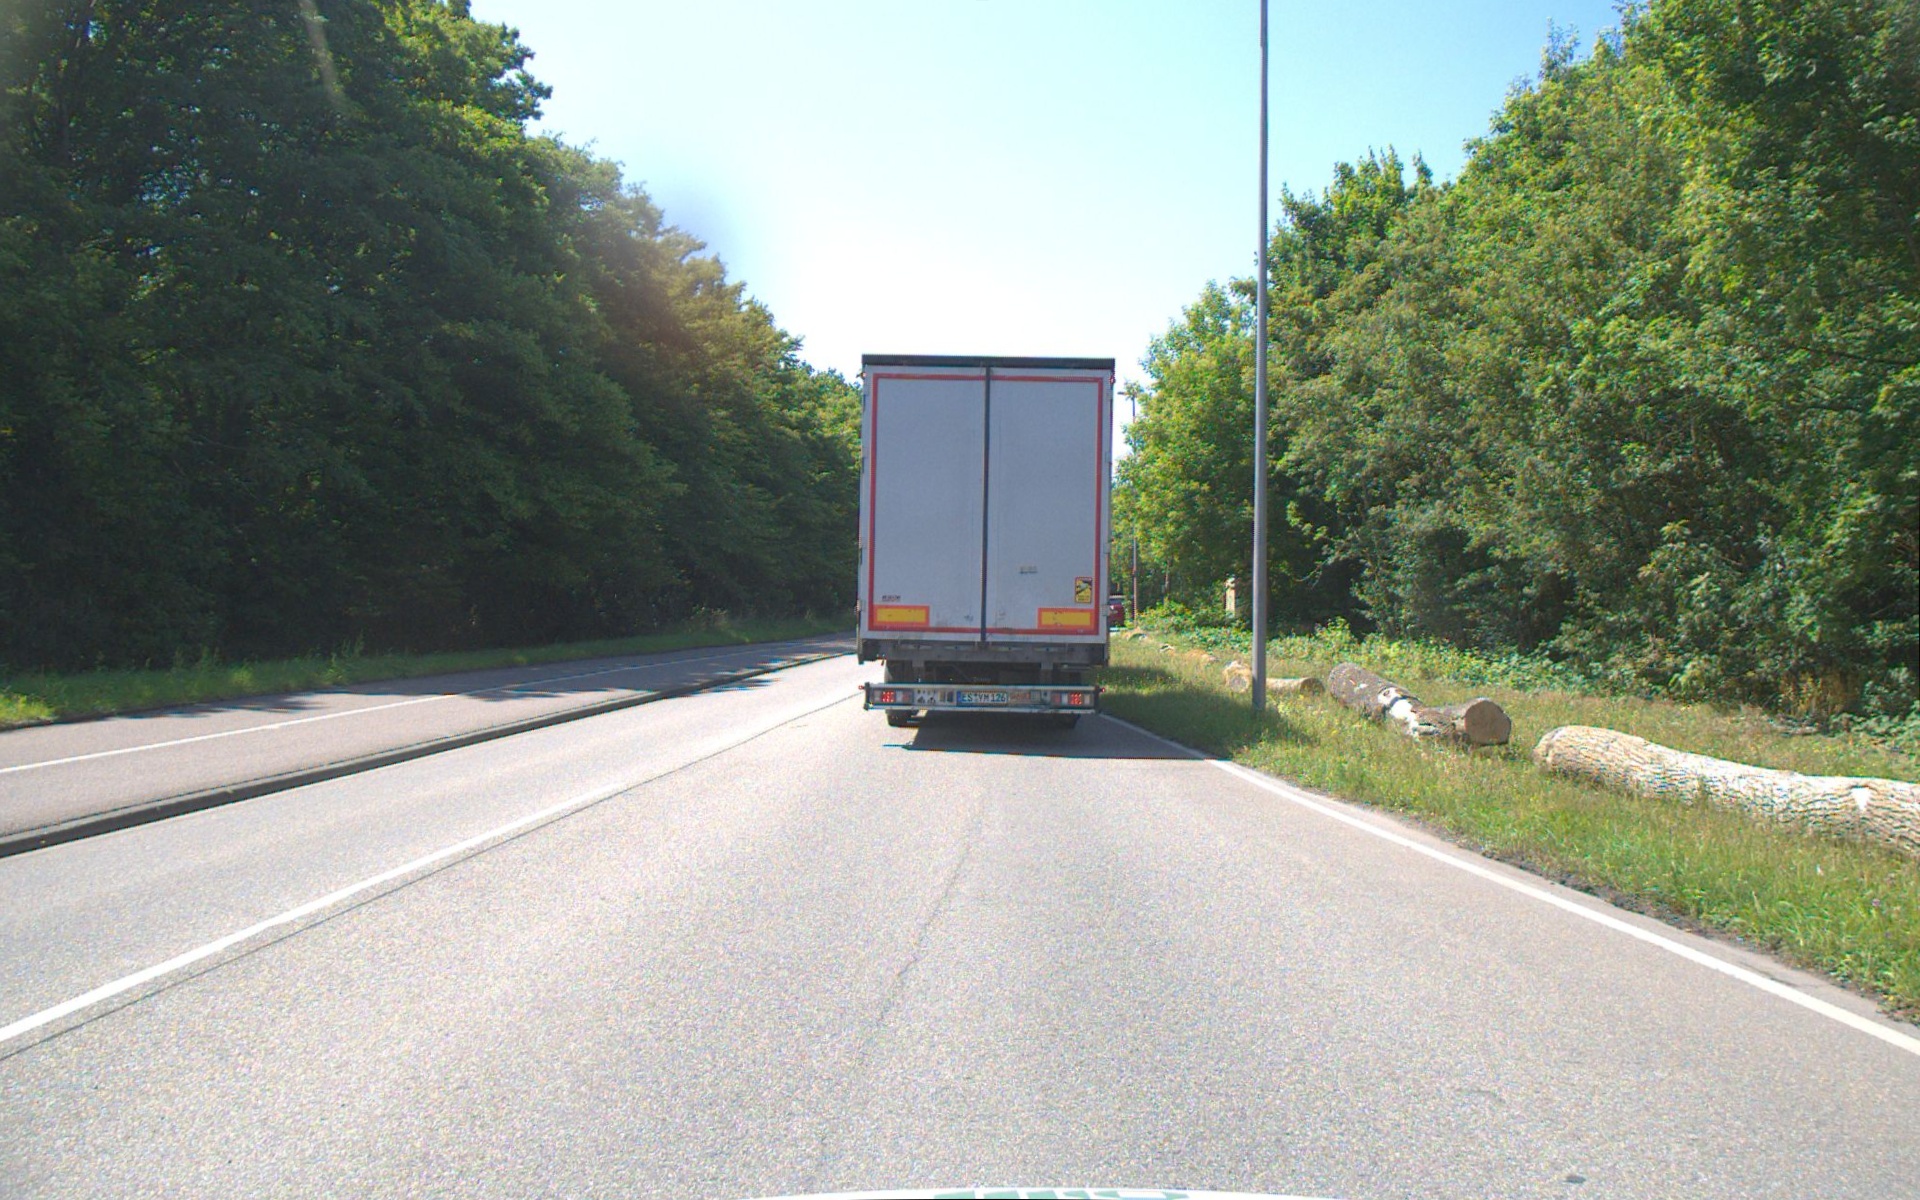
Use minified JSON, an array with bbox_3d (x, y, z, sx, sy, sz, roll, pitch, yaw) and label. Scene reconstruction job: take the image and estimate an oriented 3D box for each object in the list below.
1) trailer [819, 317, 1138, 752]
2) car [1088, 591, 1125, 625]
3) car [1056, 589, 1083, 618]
[{"bbox_3d":[0.020,-0.647,20.883,3.015,4.141,9.805,1,0,-2],"label":"trailer"},{"bbox_3d":[6.989,0.368,79.008,1.675,1.557,3.852,0,0,4],"label":"car"},{"bbox_3d":[8.030,0.240,121.543,1.952,2.049,4.002,-1,0,3],"label":"car"}]
